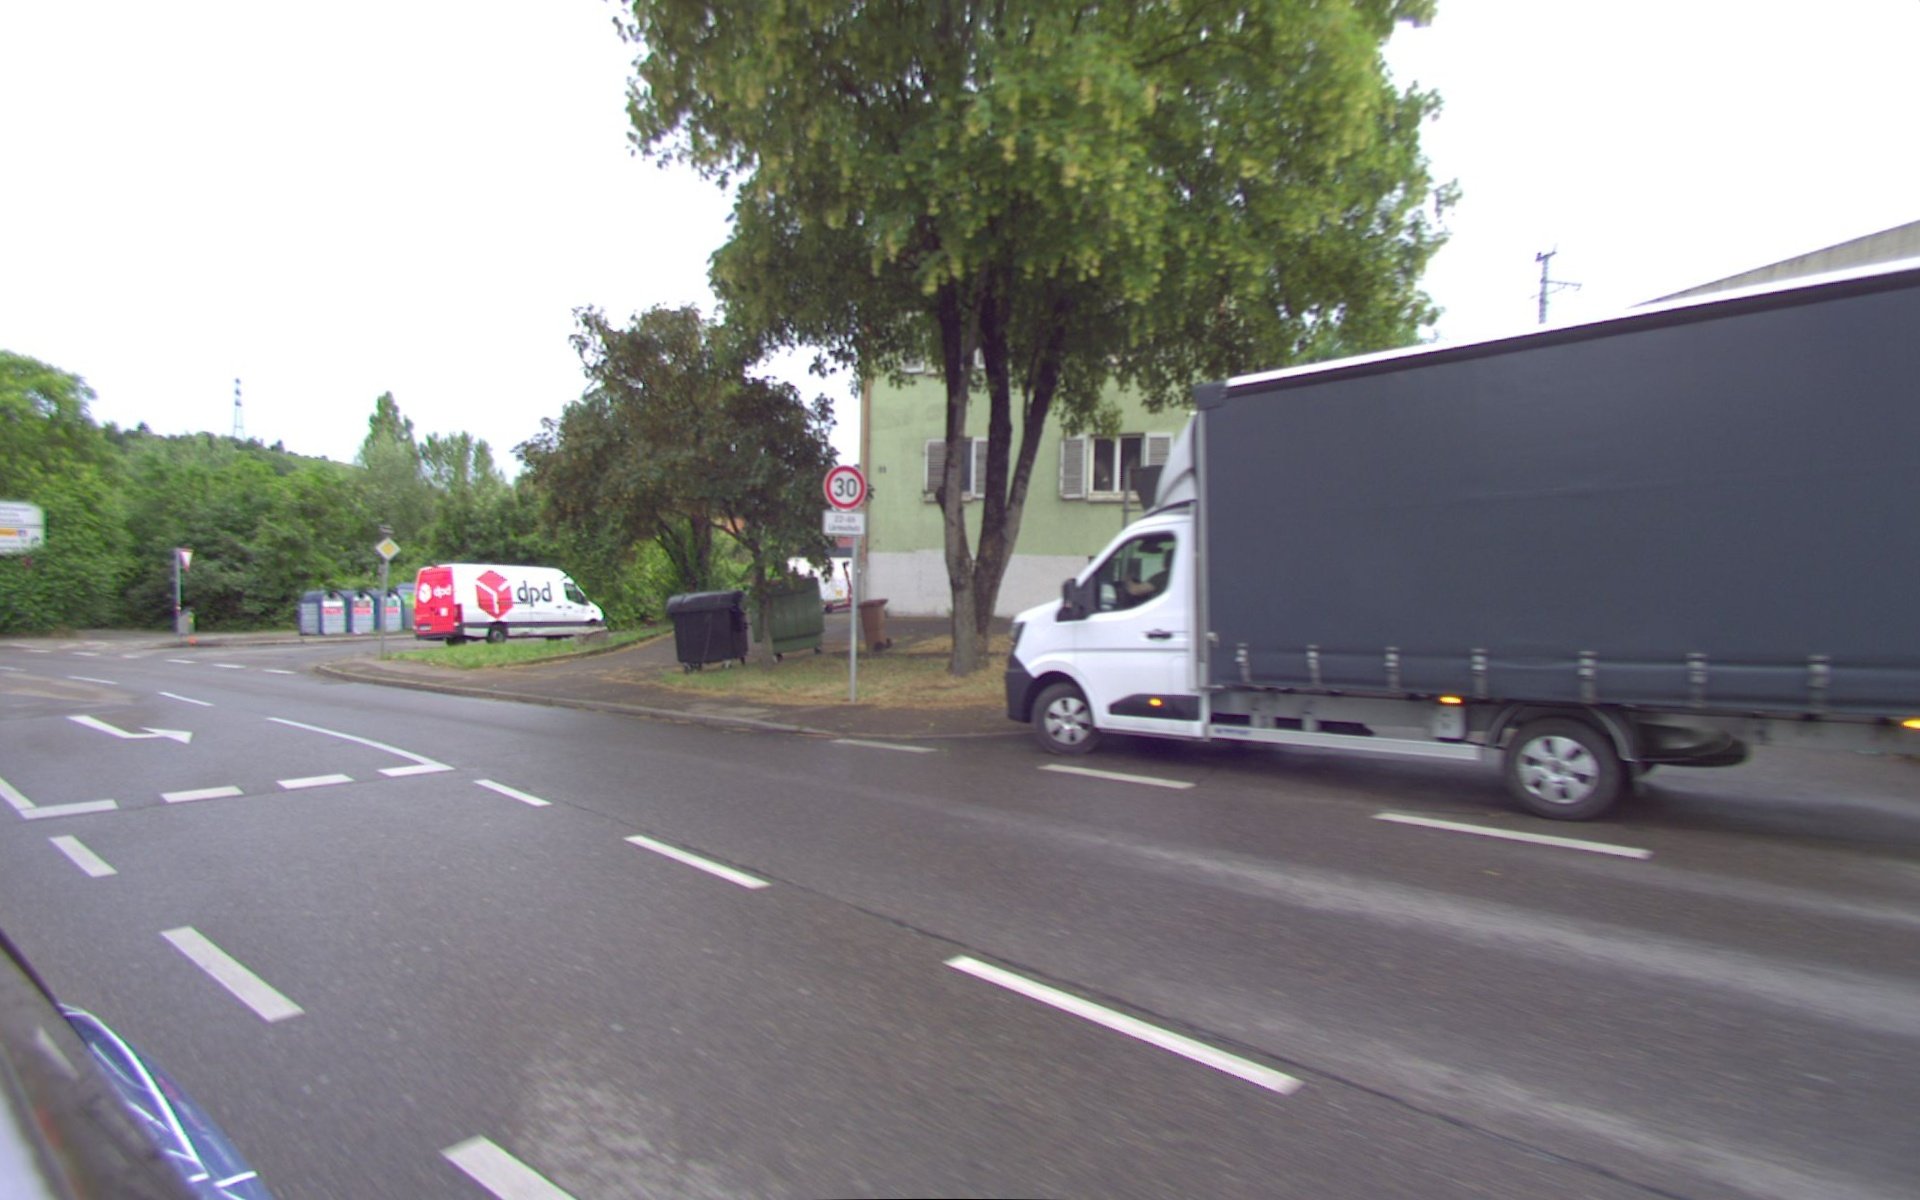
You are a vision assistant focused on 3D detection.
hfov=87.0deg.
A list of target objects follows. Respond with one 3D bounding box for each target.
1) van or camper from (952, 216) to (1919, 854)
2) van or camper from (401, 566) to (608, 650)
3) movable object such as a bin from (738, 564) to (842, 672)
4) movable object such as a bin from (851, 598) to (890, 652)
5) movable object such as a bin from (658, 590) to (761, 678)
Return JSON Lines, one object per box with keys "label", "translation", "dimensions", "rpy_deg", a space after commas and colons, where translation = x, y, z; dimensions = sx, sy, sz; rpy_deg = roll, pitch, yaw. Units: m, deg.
{"label": "van or camper", "translation": [3.686, -0.326, 8.419], "dimensions": [7.761, 3.360, 2.669], "rpy_deg": [-1, 0, 43]}
{"label": "van or camper", "translation": [-14.971, 0.222, 33.853], "dimensions": [2.208, 2.541, 6.649], "rpy_deg": [-1, 0, 22]}
{"label": "movable object such as a bin", "translation": [-3.047, 0.304, 18.347], "dimensions": [1.435, 1.774, 1.576], "rpy_deg": [-4, 0, 4]}
{"label": "movable object such as a bin", "translation": [-1.595, 0.441, 18.095], "dimensions": [0.555, 0.917, 0.541], "rpy_deg": [-4, 0, 4]}
{"label": "movable object such as a bin", "translation": [-4.526, 0.584, 18.419], "dimensions": [1.359, 1.451, 1.471], "rpy_deg": [-4, 0, 4]}
